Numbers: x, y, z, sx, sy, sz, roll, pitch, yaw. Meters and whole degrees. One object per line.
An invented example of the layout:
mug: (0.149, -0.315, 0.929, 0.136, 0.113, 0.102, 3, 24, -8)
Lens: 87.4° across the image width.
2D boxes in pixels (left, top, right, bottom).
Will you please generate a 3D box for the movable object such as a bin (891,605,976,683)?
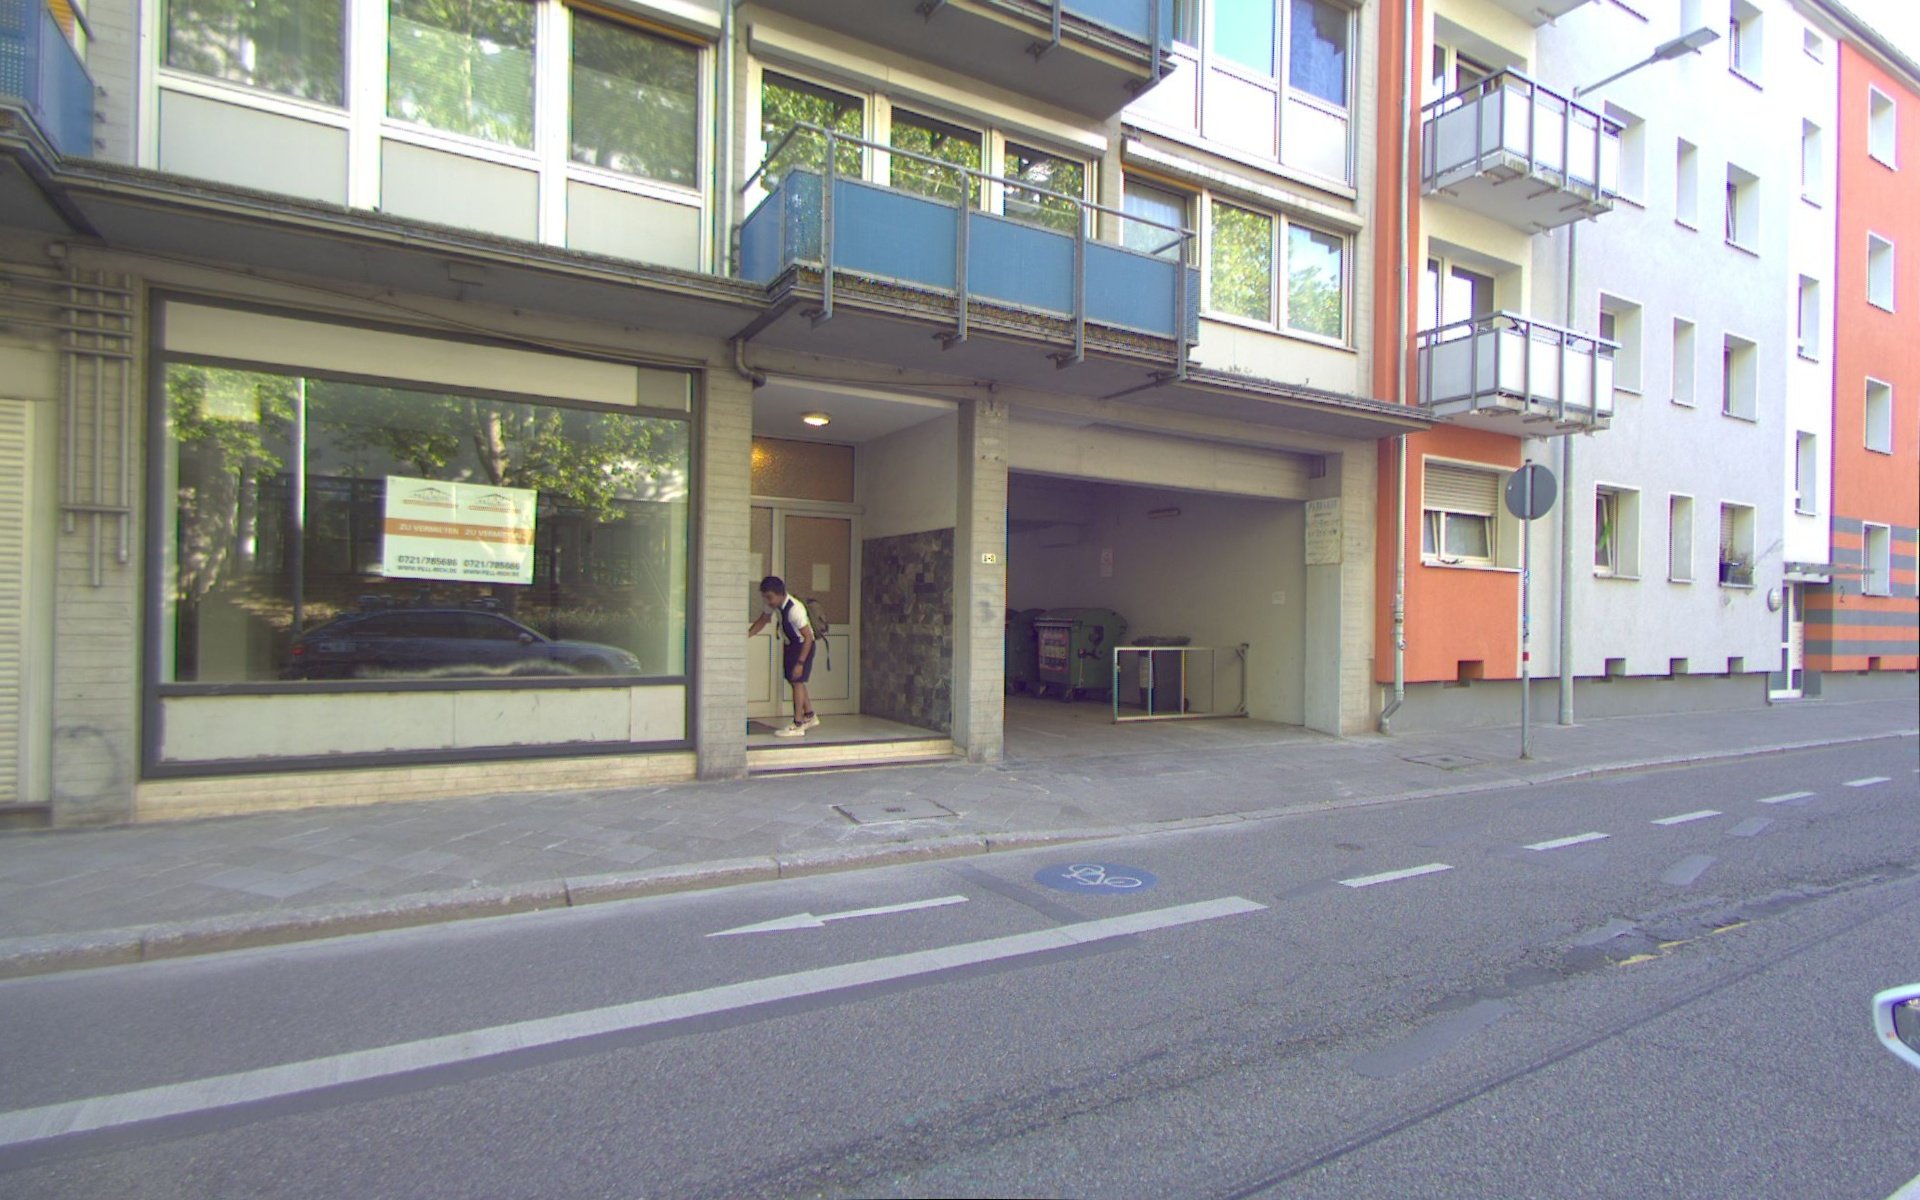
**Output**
movable object such as a bin: (-0.534, 0.851, 19.932, 1.182, 1.452, 1.300, 2, 0, -30)

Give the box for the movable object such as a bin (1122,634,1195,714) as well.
movable object such as a bin: (2.865, 1.055, 14.524, 0.707, 1.089, 0.735, 2, 0, -30)

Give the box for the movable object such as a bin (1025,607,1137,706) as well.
movable object such as a bin: (1.887, 0.861, 15.807, 1.182, 1.452, 1.300, 2, 0, -30)

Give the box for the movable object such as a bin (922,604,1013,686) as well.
movable object such as a bin: (0.134, 0.821, 18.768, 1.182, 1.452, 1.300, 2, 0, -30)

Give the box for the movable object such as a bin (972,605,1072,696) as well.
movable object such as a bin: (1.047, 0.842, 17.194, 1.182, 1.452, 1.300, 2, 0, -30)

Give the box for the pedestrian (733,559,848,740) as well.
pedestrian: (-1.583, 0.446, 9.376, 0.914, 1.606, 0.561, 1, 0, -29)
